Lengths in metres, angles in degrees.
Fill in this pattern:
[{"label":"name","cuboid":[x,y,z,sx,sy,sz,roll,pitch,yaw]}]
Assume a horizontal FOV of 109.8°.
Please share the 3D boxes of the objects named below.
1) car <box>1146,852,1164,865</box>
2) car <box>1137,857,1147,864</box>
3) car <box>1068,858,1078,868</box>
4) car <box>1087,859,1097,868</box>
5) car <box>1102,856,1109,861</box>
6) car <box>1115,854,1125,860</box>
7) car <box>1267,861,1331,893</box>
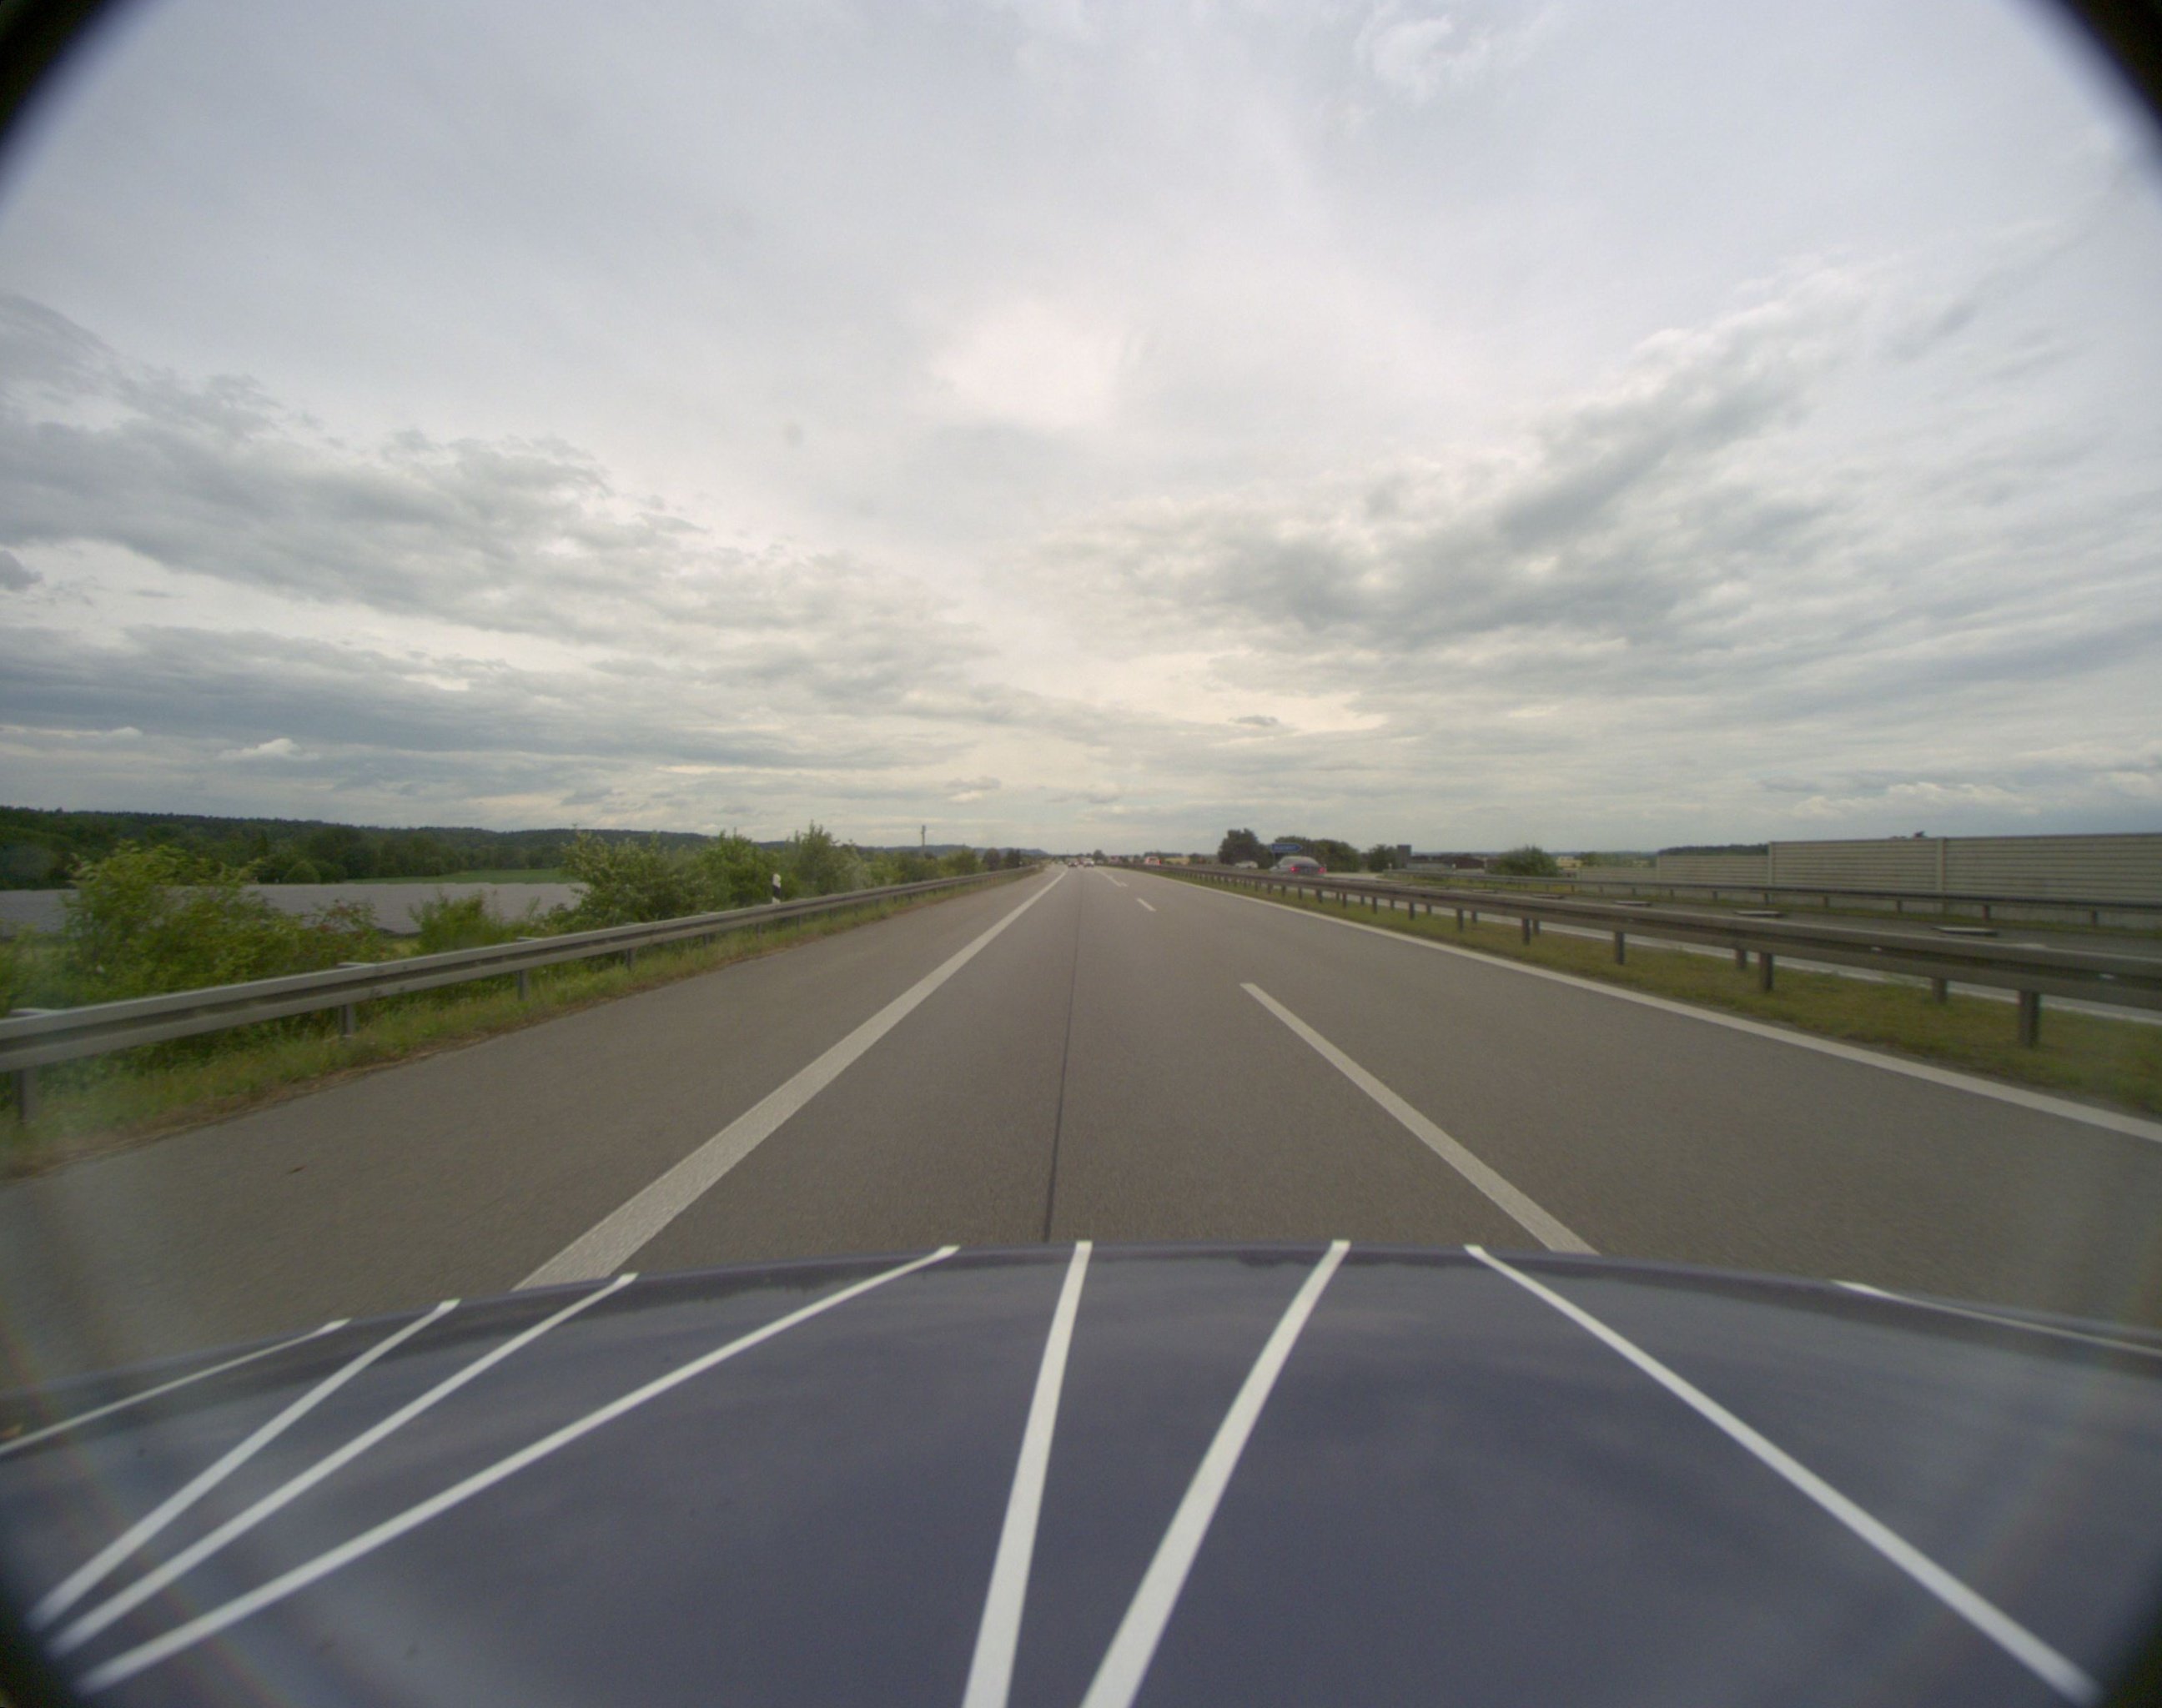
[{"label":"car","cuboid":[10.693,0.667,110.106,2.075,1.735,4.961,2,-1,0]},{"label":"car","cuboid":[13.021,1.347,161.958,1.804,1.385,4.000,-2,-1,-1]},{"label":"car","cuboid":[-1.550,1.788,153.293,1.851,1.850,4.000,1,-1,-2]},{"label":"car","cuboid":[1.962,1.723,136.268,1.850,1.664,4.200,1,-1,1]},{"label":"car","cuboid":[7.796,1.523,242.757,1.896,1.578,4.762,0,-1,-1]},{"label":"car","cuboid":[10.129,0.742,198.175,2.141,1.579,4.998,-4,0,-1]},{"label":"car","cuboid":[11.003,1.113,38.738,1.792,1.442,5.173,-1,0,1]}]
